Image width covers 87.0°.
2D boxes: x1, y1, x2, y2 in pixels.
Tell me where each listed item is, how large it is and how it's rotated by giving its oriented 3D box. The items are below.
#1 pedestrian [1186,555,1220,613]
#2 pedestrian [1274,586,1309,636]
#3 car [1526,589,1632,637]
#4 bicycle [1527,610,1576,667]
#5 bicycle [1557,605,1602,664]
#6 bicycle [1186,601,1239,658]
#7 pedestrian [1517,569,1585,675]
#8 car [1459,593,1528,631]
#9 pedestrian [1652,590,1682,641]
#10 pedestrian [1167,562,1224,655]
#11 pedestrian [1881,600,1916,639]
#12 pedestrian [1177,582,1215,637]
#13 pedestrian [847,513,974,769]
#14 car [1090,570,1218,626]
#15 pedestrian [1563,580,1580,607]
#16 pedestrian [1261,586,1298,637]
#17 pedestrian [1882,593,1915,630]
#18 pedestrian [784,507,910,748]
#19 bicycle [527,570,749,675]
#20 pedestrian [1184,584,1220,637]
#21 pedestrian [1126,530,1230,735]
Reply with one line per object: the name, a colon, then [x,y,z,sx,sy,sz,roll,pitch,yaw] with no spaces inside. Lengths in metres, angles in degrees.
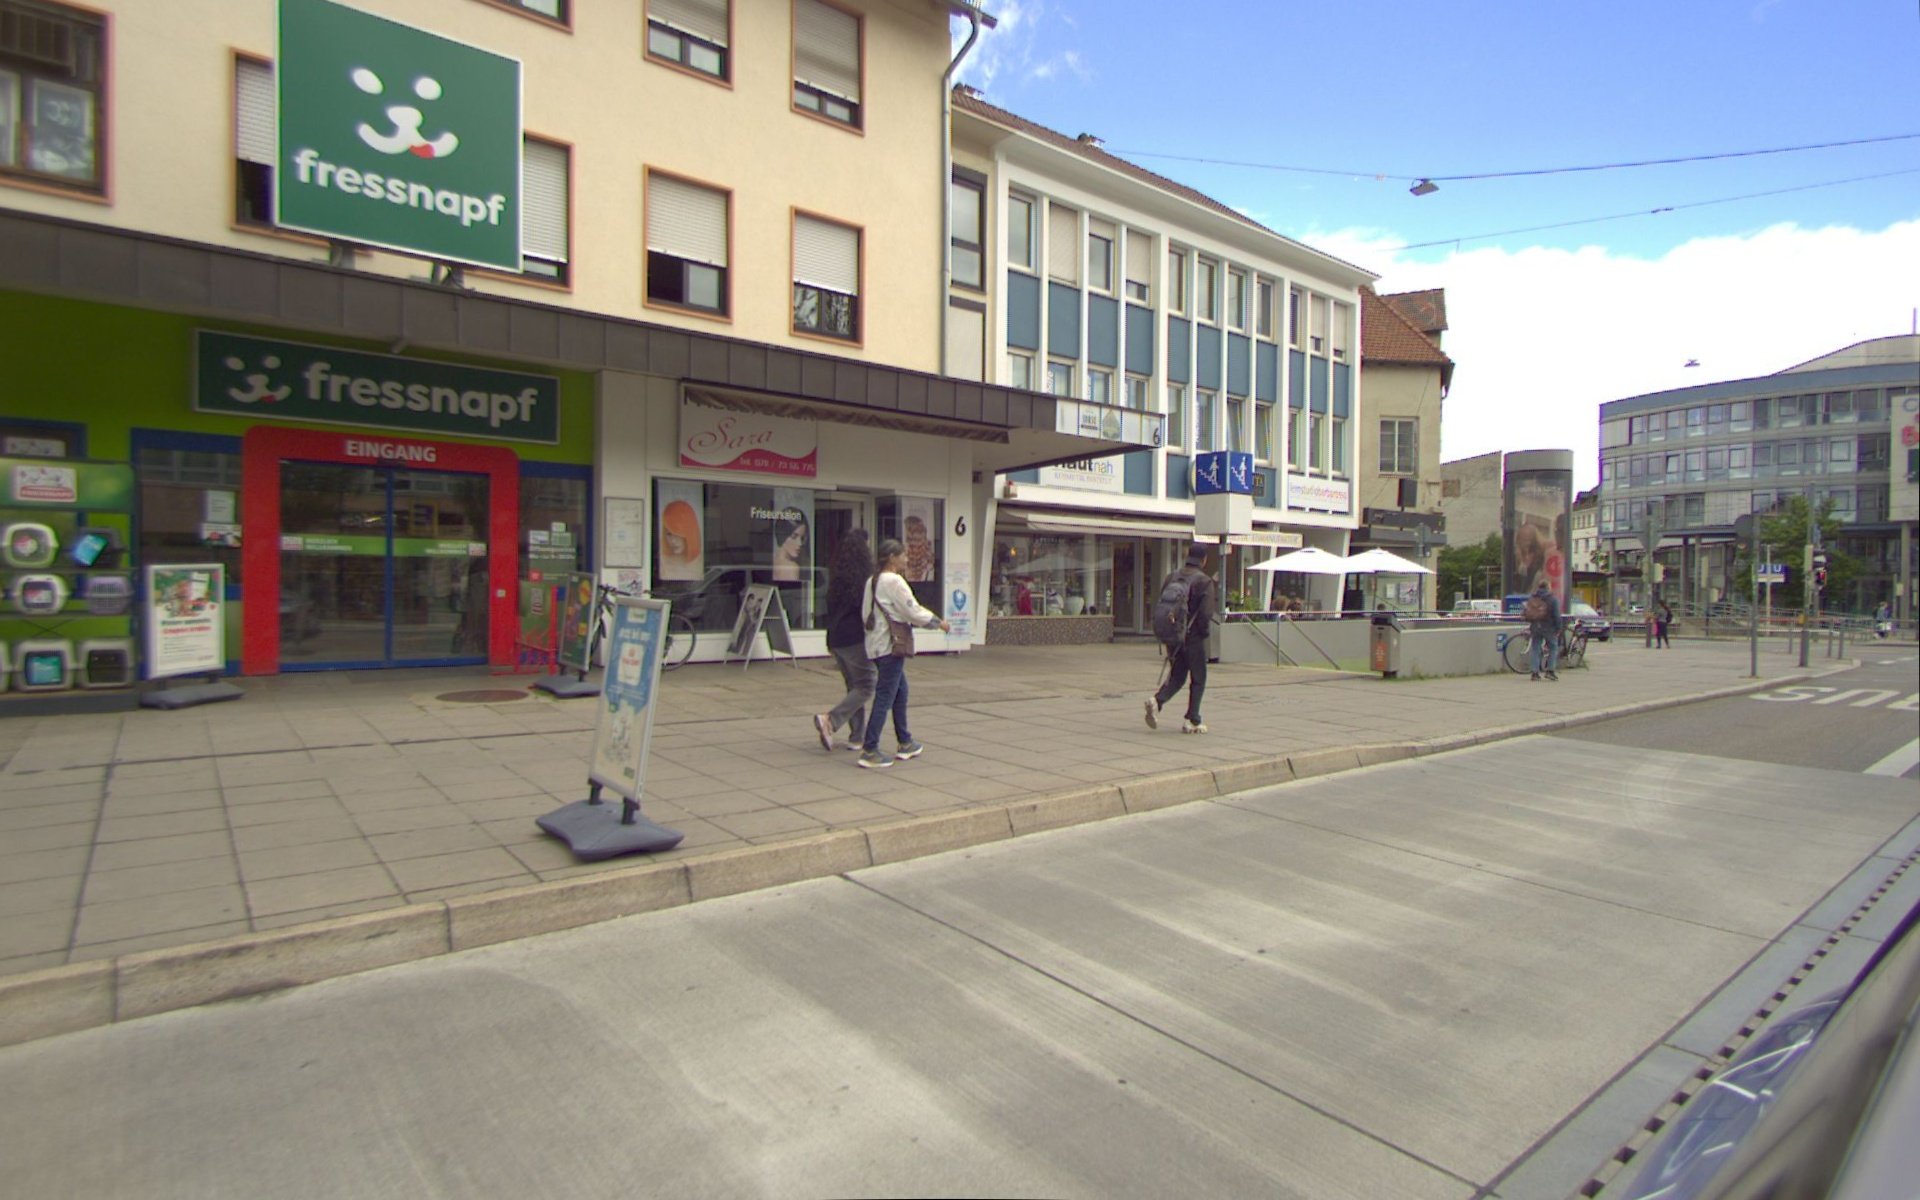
pedestrian: [6.342,-0.408,26.435,0.577,1.480,0.614,1,-3,-40]
pedestrian: [8.334,0.284,25.443,0.578,1.236,0.614,1,-3,-42]
car: [26.443,0.493,43.437,1.847,1.919,4.921,0,0,5]
bicycle: [10.630,0.684,18.171,1.362,0.986,0.274,1,0,-39]
bicycle: [11.727,0.643,19.148,1.362,1.066,0.274,1,0,-39]
bicycle: [4.582,0.523,18.346,0.273,0.986,1.365,1,0,44]
pedestrian: [9.538,0.338,16.327,0.838,1.655,0.689,1,0,-40]
car: [27.777,0.583,52.888,1.851,1.919,4.911,0,0,11]
pedestrian: [23.504,0.520,33.650,0.580,1.643,0.739,-2,-2,19]
pedestrian: [4.330,0.150,18.606,0.787,1.655,0.667,1,0,-42]
pedestrian: [41.662,0.847,44.947,0.795,1.668,0.883,1,0,16]
pedestrian: [5.478,0.226,23.521,0.578,1.236,0.614,1,-3,-42]
pedestrian: [-0.345,0.253,6.975,0.604,1.655,0.613,0,2,-42]
car: [6.137,-0.061,32.400,1.702,1.687,3.978,1,0,-35]
pedestrian: [40.780,-0.409,67.473,0.682,1.766,0.615,-1,-2,-3]
pedestrian: [7.891,0.282,25.008,0.578,1.235,0.614,1,1,-42]
pedestrian: [42.472,0.543,45.787,0.834,1.656,0.641,-2,-2,18]
pedestrian: [-0.837,0.175,7.433,0.604,1.654,0.720,0,2,-42]
bicycle: [-3.622,0.232,11.546,2.310,1.076,0.742,0,2,-41]
pedestrian: [5.802,0.248,24.221,0.578,1.235,0.614,1,-1,-42]
pedestrian: [1.895,0.264,8.815,0.603,1.699,0.614,1,1,-37]
